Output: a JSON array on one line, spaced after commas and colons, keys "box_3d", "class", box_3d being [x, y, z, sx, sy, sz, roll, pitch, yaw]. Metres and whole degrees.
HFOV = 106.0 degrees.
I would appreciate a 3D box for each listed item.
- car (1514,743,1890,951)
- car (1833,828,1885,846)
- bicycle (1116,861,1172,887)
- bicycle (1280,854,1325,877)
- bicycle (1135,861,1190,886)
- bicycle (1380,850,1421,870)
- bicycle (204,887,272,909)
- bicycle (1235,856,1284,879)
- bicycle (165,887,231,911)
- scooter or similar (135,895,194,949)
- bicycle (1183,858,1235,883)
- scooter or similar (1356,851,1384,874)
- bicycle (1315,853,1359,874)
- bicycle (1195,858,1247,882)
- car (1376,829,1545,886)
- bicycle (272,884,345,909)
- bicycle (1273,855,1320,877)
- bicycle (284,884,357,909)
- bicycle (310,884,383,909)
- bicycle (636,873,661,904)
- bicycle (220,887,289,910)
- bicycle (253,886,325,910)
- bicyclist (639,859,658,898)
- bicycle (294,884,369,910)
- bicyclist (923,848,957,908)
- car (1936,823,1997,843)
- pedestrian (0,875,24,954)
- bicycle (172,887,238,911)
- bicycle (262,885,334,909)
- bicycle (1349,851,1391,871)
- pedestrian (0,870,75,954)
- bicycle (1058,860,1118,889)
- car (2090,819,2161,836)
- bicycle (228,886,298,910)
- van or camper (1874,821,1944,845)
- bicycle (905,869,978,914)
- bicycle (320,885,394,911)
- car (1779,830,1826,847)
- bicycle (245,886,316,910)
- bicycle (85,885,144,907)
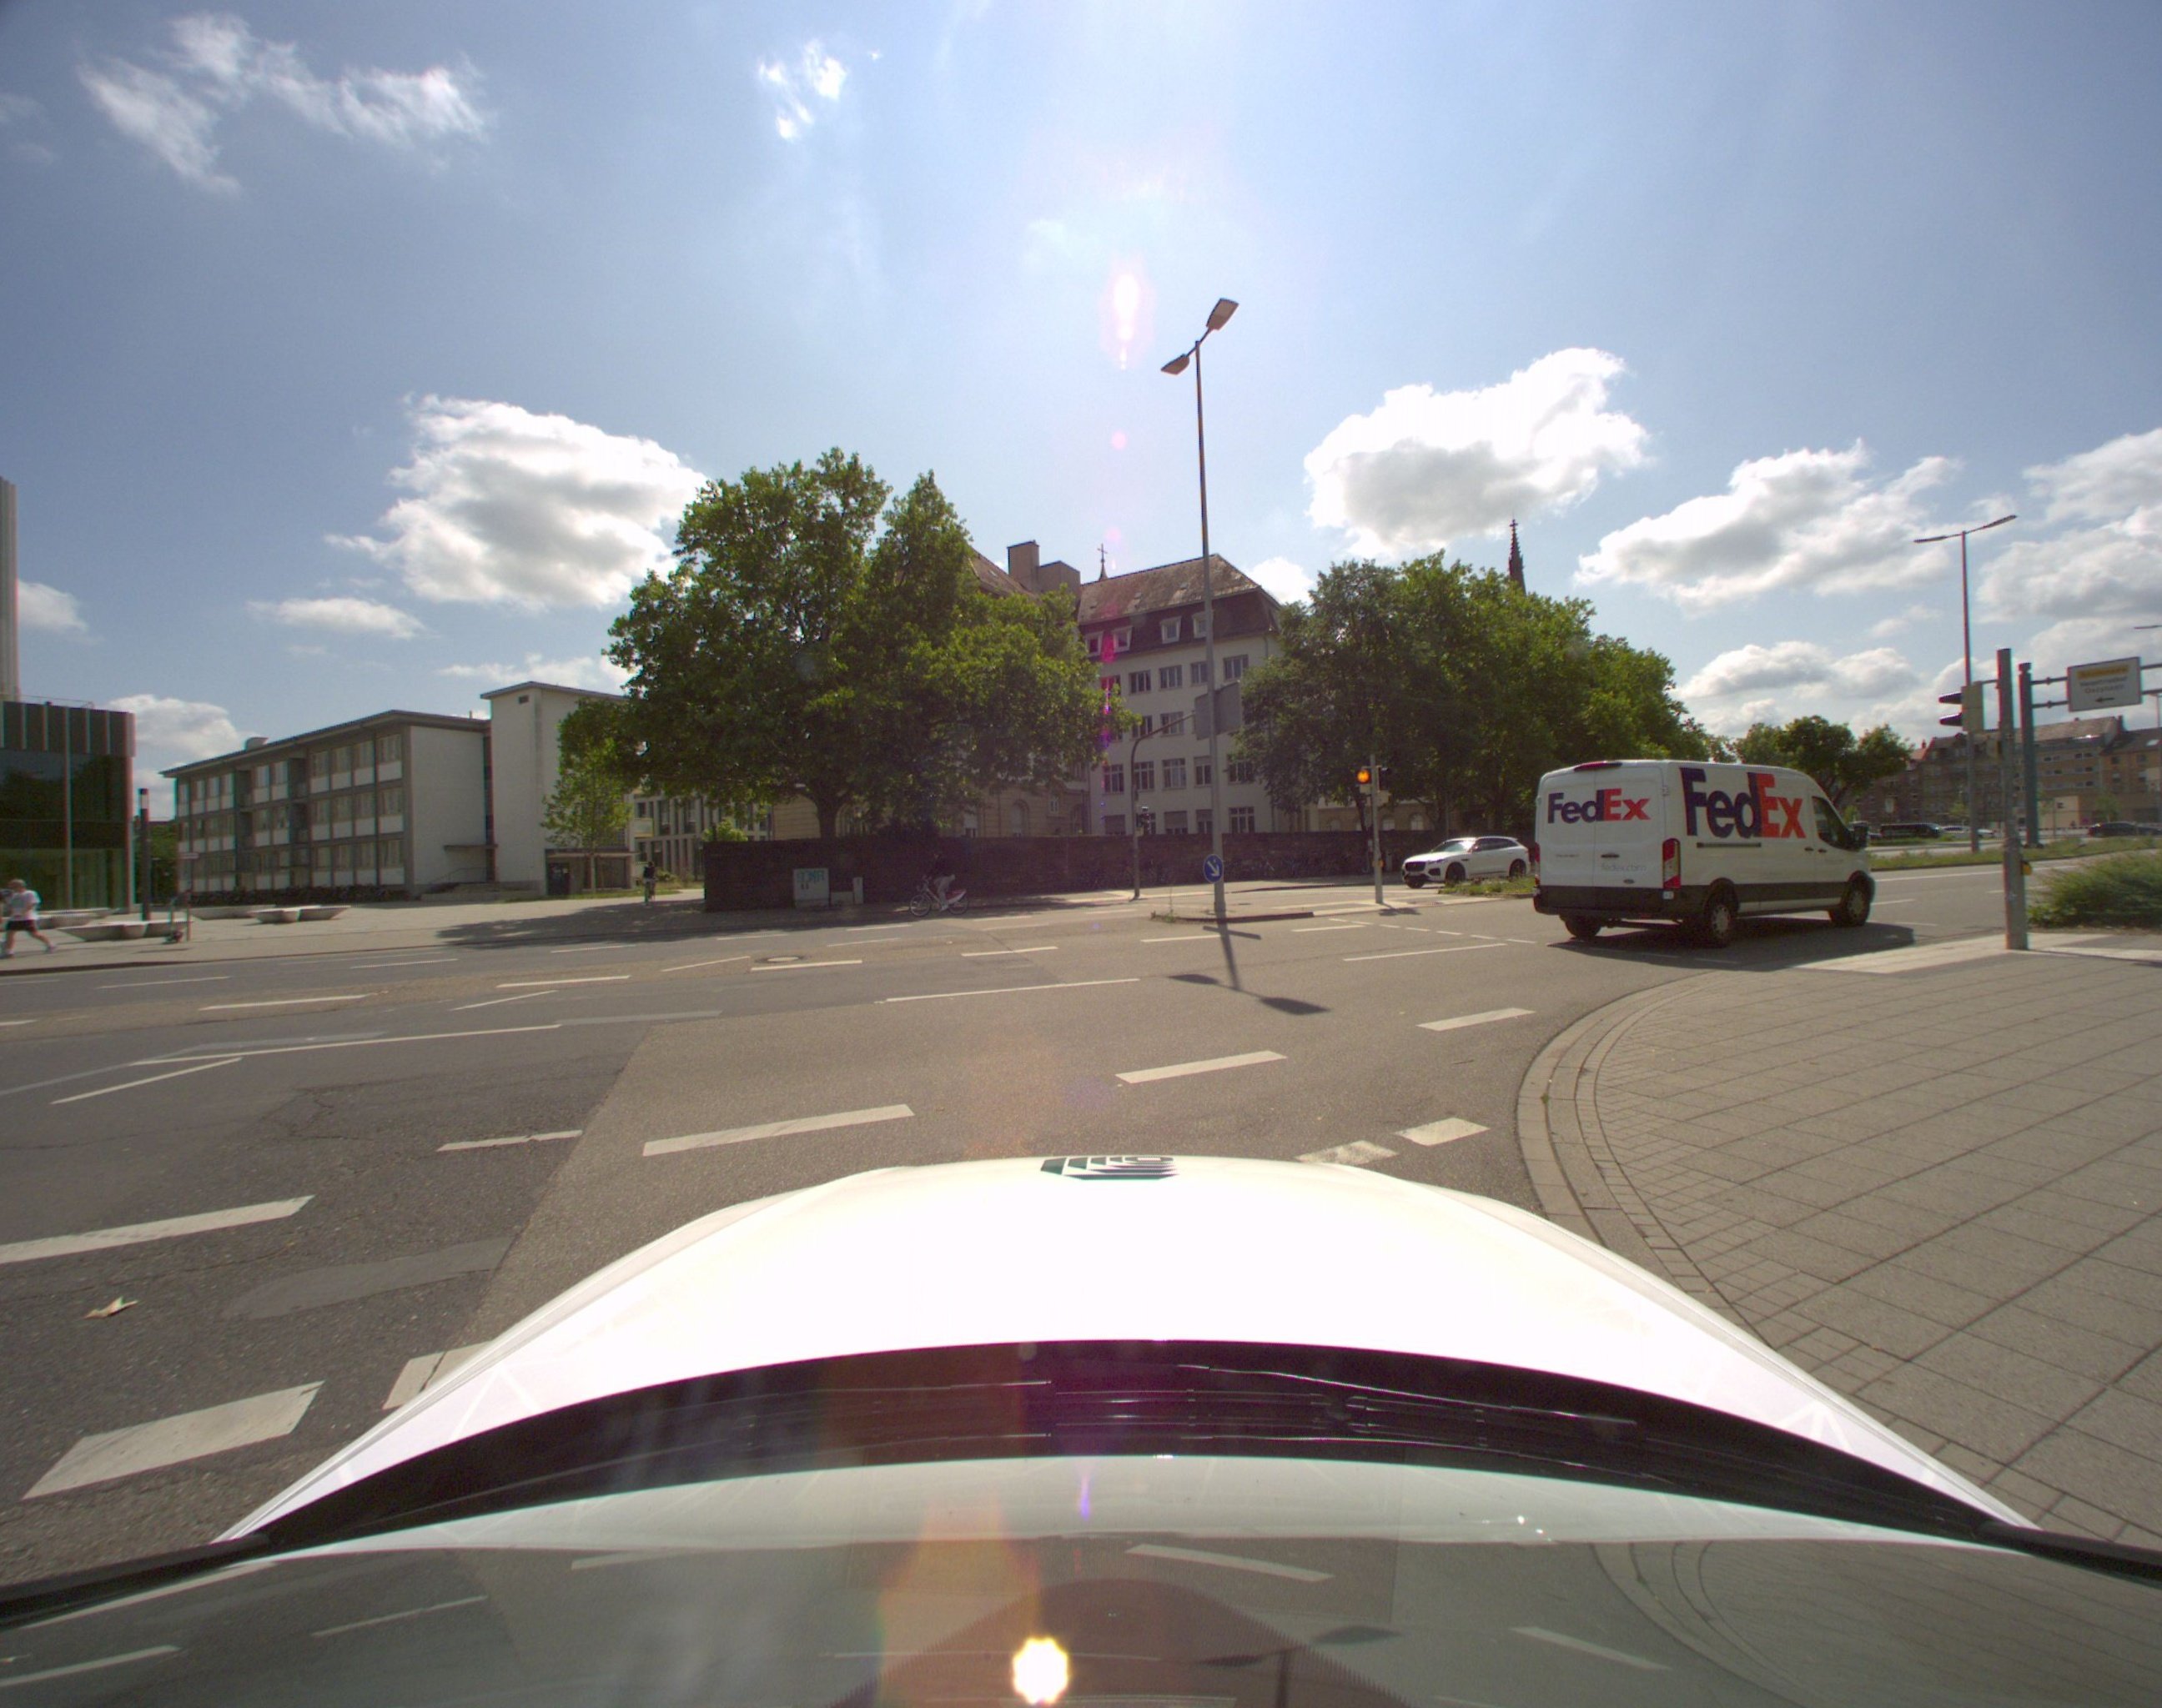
[{"box_3d": [9.353, -0.201, 12.193, 5.612, 2.566, 2.085, -3, 1, -25], "class": "car"}, {"box_3d": [85.055, -1.815, 89.068, 1.578, 1.755, 3.833, -1, -1, -34], "class": "car"}, {"box_3d": [2.719, 0.859, 35.003, 2.396, 0.994, 0.747, -2, 0, -31], "class": "bicycle"}, {"box_3d": [10.924, 0.562, 40.141, 2.397, 0.994, 0.717, -2, 0, -33], "class": "bicycle"}, {"box_3d": [3.556, 0.838, 35.521, 2.396, 0.994, 0.690, -2, 0, -31], "class": "bicycle"}, {"box_3d": [17.301, 0.307, 44.065, 2.397, 0.994, 0.746, -2, 0, -32], "class": "bicycle"}, {"box_3d": [-56.890, 2.971, 55.006, 1.103, 1.363, 2.983, -2, -1, 26], "class": "bicycle"}, {"box_3d": [8.479, 0.632, 38.589, 2.396, 0.994, 0.747, -2, 0, -31], "class": "bicycle"}, {"box_3d": [-63.046, 3.197, 58.166, 1.103, 1.575, 2.983, -2, -1, 26], "class": "bicycle"}, {"box_3d": [-23.071, 1.671, 20.539, 0.723, 1.178, 2.692, -1, 0, -43], "class": "scooter or similar"}, {"box_3d": [5.816, 0.747, 36.907, 2.396, 0.994, 0.747, -2, 0, -31], "class": "bicycle"}, {"box_3d": [14.619, 0.421, 41.169, 0.533, 1.084, 1.945, -3, -2, 43], "class": "scooter or similar"}, {"box_3d": [13.040, 0.471, 41.400, 2.398, 0.994, 0.746, -2, 0, -33], "class": "bicycle"}, {"box_3d": [6.426, 0.735, 37.292, 2.396, 0.994, 0.717, -2, 0, -31], "class": "bicycle"}, {"box_3d": [12.753, 0.095, 27.365, 5.308, 1.641, 1.986, -2, 0, -21], "class": "car"}, {"box_3d": [-46.896, 2.581, 49.491, 1.103, 1.363, 2.983, -2, -1, 26], "class": "bicycle"}, {"box_3d": [10.573, 0.576, 39.920, 2.397, 0.994, 0.746, -2, 0, -33], "class": "bicycle"}, {"box_3d": [-45.579, 2.540, 48.868, 1.103, 1.363, 2.983, -2, -1, 26], "class": "bicycle"}, {"box_3d": [-42.940, 2.479, 47.677, 1.103, 1.363, 2.983, -2, -1, 26], "class": "bicycle"}, {"box_3d": [-16.674, 1.296, 31.436, 0.552, 1.131, 2.158, -2, -1, -21], "class": "bicycle"}, {"box_3d": [-53.908, 2.872, 53.163, 1.103, 1.363, 2.983, -2, -1, 26], "class": "bicycle"}, {"box_3d": [-49.224, 2.695, 50.651, 1.103, 1.363, 2.983, -2, -1, 26], "class": "bicycle"}, {"box_3d": [-16.627, 0.938, 31.304, 0.516, 1.452, 0.781, -2, -1, -22], "class": "bicyclist"}, {"box_3d": [-44.436, 2.531, 48.321, 1.260, 1.363, 2.983, -2, -1, 26], "class": "bicycle"}, {"box_3d": [-4.007, 0.674, 23.224, 0.887, 1.672, 0.682, -2, -1, -10], "class": "bicyclist"}, {"box_3d": [87.355, -2.035, 80.360, 1.578, 1.755, 3.833, -1, -1, -34], "class": "car"}, {"box_3d": [-25.486, 1.429, 19.021, 0.808, 1.815, 0.673, -2, -1, 11], "class": "pedestrian"}, {"box_3d": [-61.884, 3.165, 57.590, 1.103, 1.575, 2.983, -2, -1, 26], "class": "bicycle"}, {"box_3d": [-48.070, 2.626, 50.068, 1.103, 1.363, 2.983, -2, -1, 26], "class": "bicycle"}, {"box_3d": [15.147, 0.363, 42.657, 2.397, 0.994, 0.746, -2, 0, -33], "class": "bicycle"}, {"box_3d": [-24.596, 1.348, 19.136, 0.904, 1.889, 0.871, -2, -1, 11], "class": "pedestrian"}, {"box_3d": [0.301, 0.836, 33.598, 2.396, 1.058, 0.747, -2, 0, -31], "class": "bicycle"}, {"box_3d": [91.509, -2.311, 71.326, 1.740, 1.326, 3.688, -2, 0, -27], "class": "car"}, {"box_3d": [-52.448, 2.816, 52.257, 1.103, 1.363, 2.983, -2, -1, 26], "class": "bicycle"}, {"box_3d": [82.654, -2.075, 81.364, 1.578, 2.095, 4.612, -1, -1, -34], "class": "van or camper"}, {"box_3d": [-3.953, 1.055, 23.232, 1.981, 1.185, 0.680, -2, 0, -9], "class": "bicycle"}, {"box_3d": [-41.787, 2.543, 47.038, 1.103, 1.363, 2.983, -2, -1, 26], "class": "bicycle"}, {"box_3d": [84.899, -1.805, 95.926, 1.578, 1.755, 3.833, -1, -1, -34], "class": "car"}, {"box_3d": [-50.329, 2.741, 51.227, 1.103, 1.363, 2.983, -2, -1, 26], "class": "bicycle"}, {"box_3d": [-76.283, 3.291, 64.323, 1.111, 1.575, 2.965, -1, -1, 1], "class": "bicycle"}]
